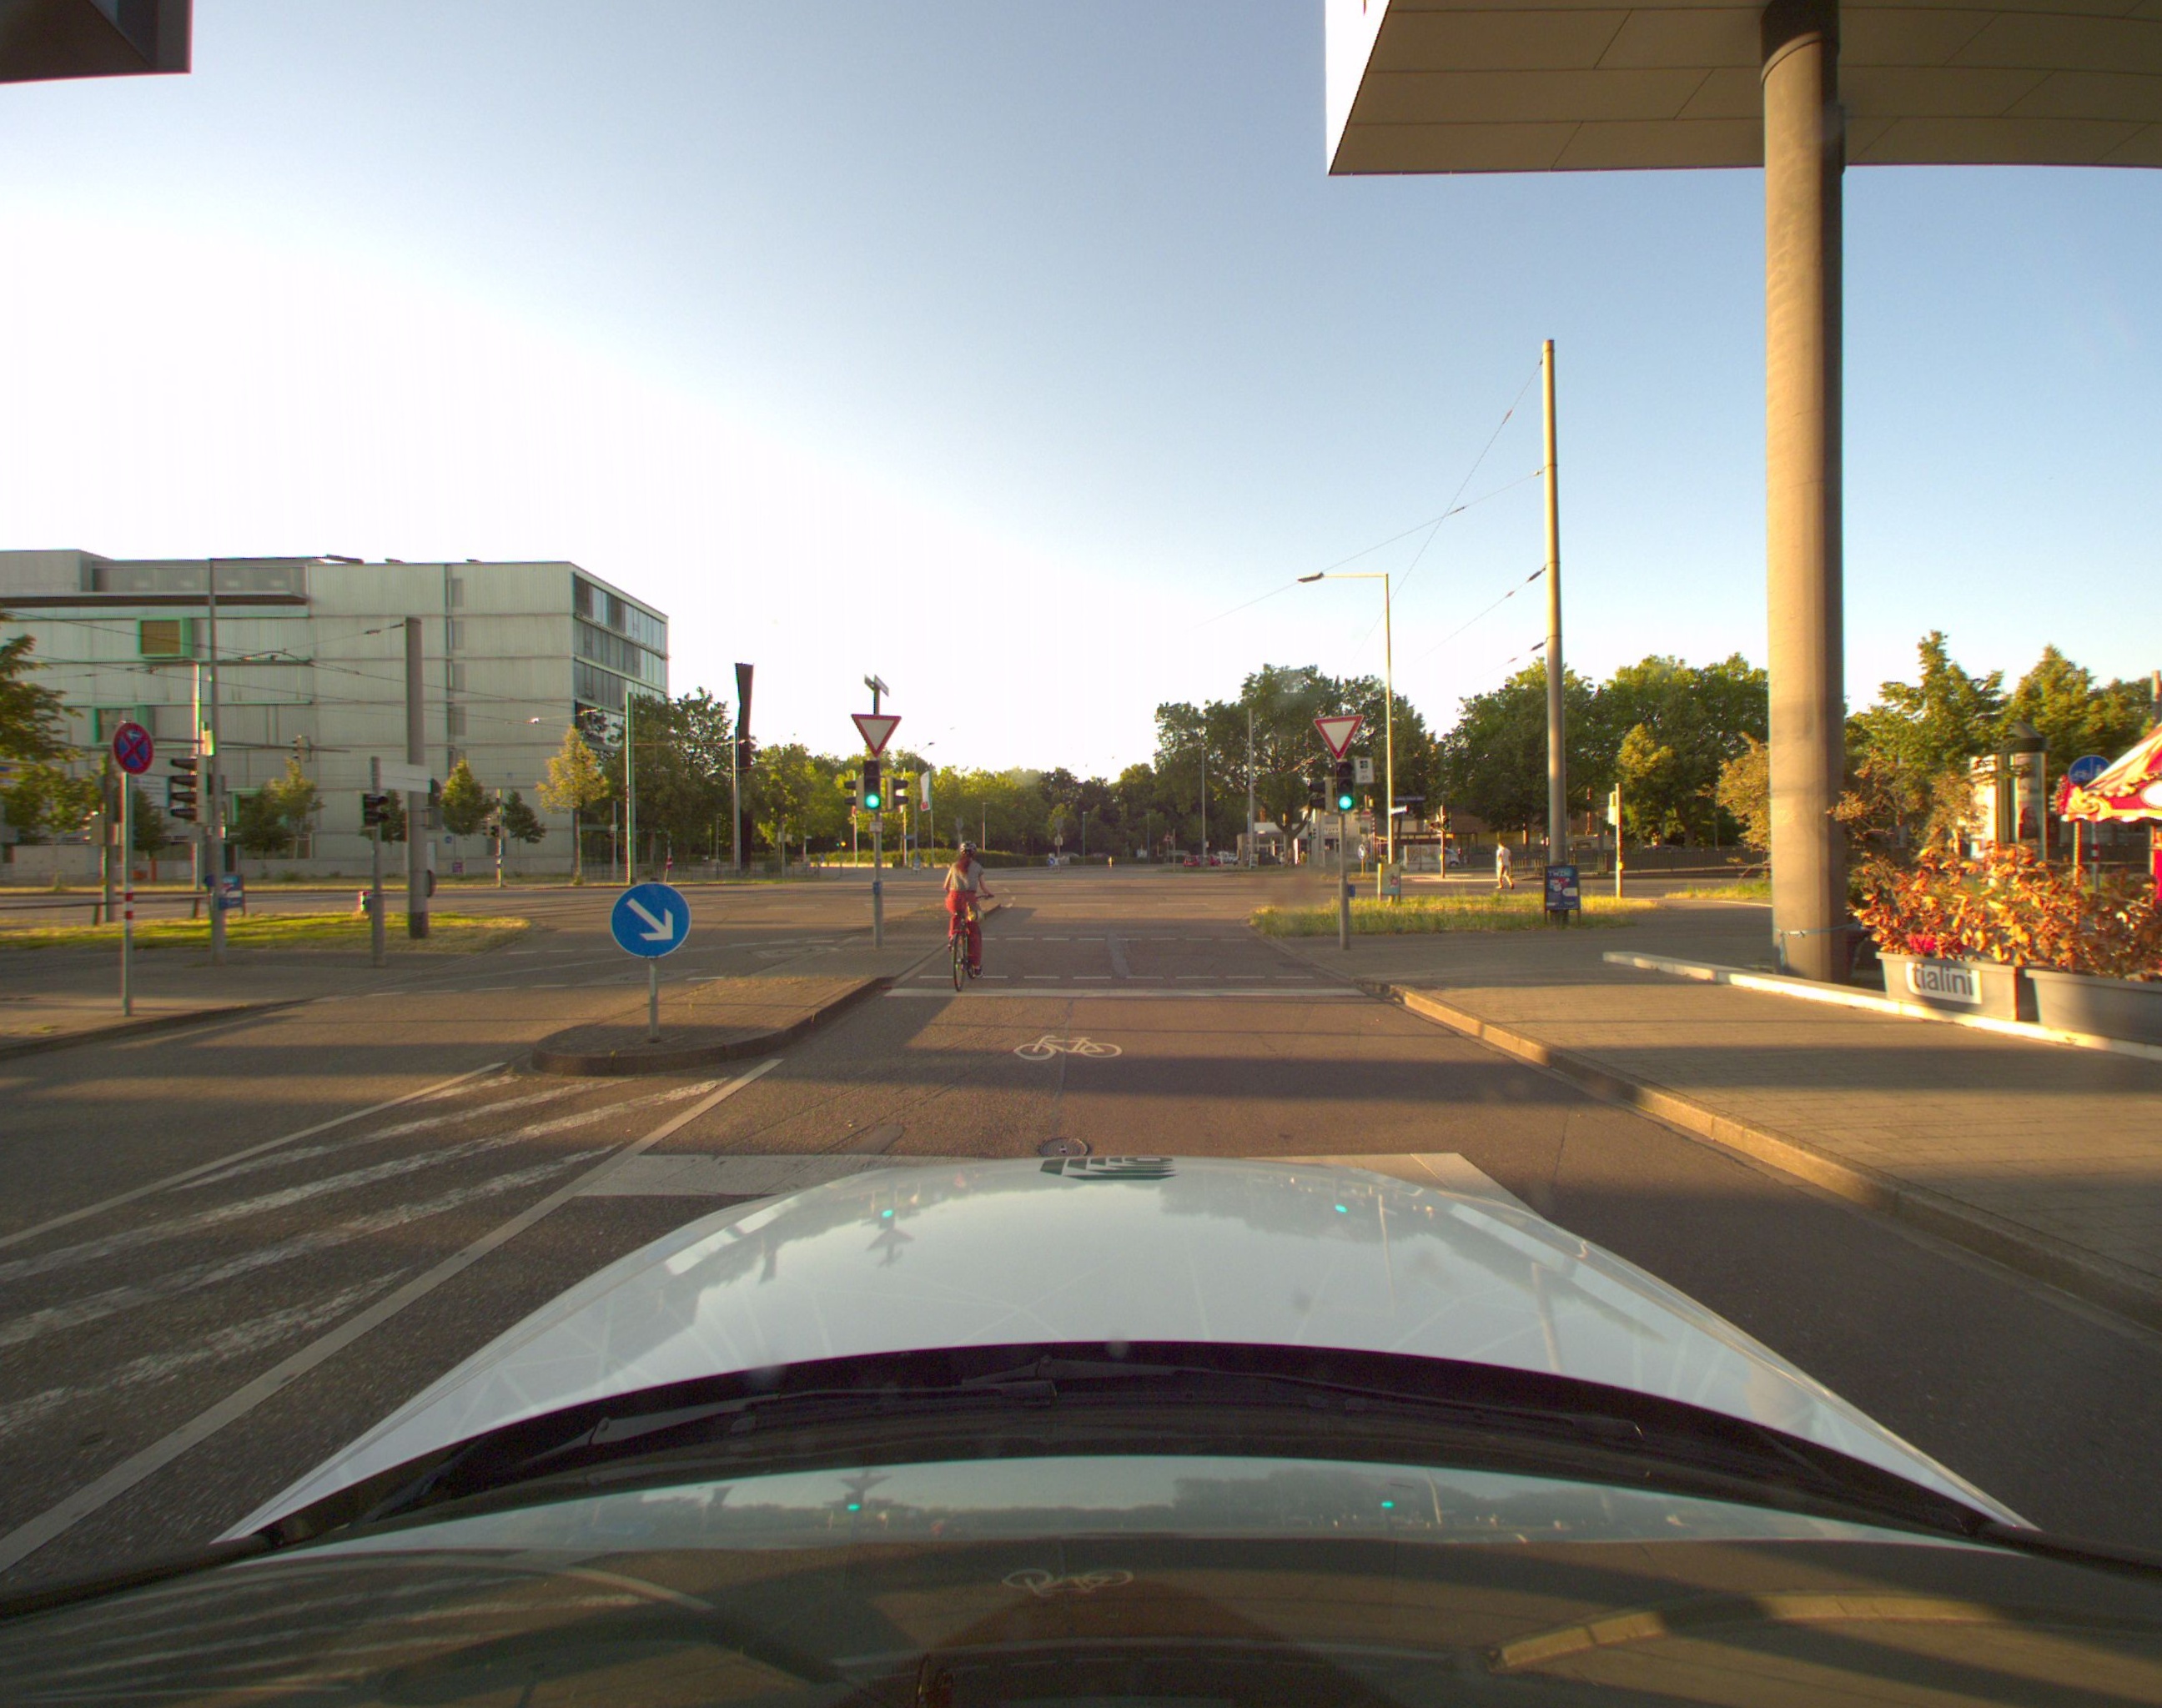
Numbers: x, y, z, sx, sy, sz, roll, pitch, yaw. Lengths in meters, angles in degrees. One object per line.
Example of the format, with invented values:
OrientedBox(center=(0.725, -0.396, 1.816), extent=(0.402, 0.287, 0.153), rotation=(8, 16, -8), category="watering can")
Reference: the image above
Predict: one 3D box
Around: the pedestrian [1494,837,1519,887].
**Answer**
OrientedBox(center=(15.472, 0.291, 29.601), extent=(0.754, 1.791, 0.807), rotation=(0, 0, 32), category="pedestrian")

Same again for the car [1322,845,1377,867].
OrientedBox(center=(23.571, 0.141, 71.598), extent=(4.211, 1.846, 2.002), rotation=(-1, 0, 4), category="car")

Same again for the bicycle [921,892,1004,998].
OrientedBox(center=(-1.411, 1.056, 10.066), extent=(0.632, 1.068, 2.123), rotation=(-1, 0, 2), category="bicycle")

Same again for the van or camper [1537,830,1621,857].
OrientedBox(center=(47.844, -0.977, 78.315), extent=(6.530, 2.410, 2.268), rotation=(-1, -1, 6), category="van or camper")

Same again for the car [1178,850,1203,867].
OrientedBox(center=(12.823, 0.543, 95.090), extent=(1.852, 1.874, 3.896), rotation=(-1, 0, 23), category="car")

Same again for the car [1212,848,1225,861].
OrientedBox(center=(21.956, 0.060, 130.385), extent=(1.982, 2.013, 4.010), rotation=(-1, 0, 9), category="car")

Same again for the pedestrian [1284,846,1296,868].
OrientedBox(center=(17.194, 0.229, 66.973), extent=(0.712, 1.754, 0.903), rotation=(-1, 0, 26), category="pedestrian")

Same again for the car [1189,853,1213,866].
OrientedBox(center=(14.573, 0.656, 98.848), extent=(1.976, 1.574, 4.021), rotation=(-1, 0, 21), category="car")

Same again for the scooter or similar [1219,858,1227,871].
OrientedBox(center=(12.554, 0.918, 71.874), extent=(0.508, 1.090, 1.243), rotation=(-1, 0, 2), category="scooter or similar")

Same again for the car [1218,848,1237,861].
OrientedBox(center=(24.223, 0.090, 134.813), extent=(1.975, 2.013, 4.024), rotation=(-1, 0, 27), category="car")

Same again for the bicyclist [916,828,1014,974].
OrientedBox(center=(-1.422, 0.557, 10.184), extent=(1.028, 1.718, 0.996), rotation=(-1, 0, 1), category="bicyclist")

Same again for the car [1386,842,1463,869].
OrientedBox(center=(23.579, 0.093, 55.992), extent=(4.523, 1.728, 1.860), rotation=(-1, 0, -3), category="car")

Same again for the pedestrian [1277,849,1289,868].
OrientedBox(center=(16.941, 0.383, 68.303), extent=(0.712, 1.639, 0.903), rotation=(-1, 0, 26), category="pedestrian")

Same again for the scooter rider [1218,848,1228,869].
OrientedBox(center=(12.530, 0.419, 71.915), extent=(0.700, 1.855, 0.669), rotation=(-1, -1, 1), category="scooter rider")

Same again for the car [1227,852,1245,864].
OrientedBox(center=(21.874, 0.499, 114.666), extent=(1.899, 1.602, 4.020), rotation=(-1, 0, 20), category="car")

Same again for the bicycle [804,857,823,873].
OrientedBox(center=(-20.803, 0.850, 63.396), extent=(0.697, 1.136, 2.392), rotation=(-1, 0, -1), category="bicycle")

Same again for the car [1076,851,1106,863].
OrientedBox(center=(1.378, 0.337, 109.196), extent=(3.970, 1.561, 2.002), rotation=(-1, 0, 3), category="car")

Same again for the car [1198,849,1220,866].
OrientedBox(center=(16.150, 0.387, 102.633), extent=(1.899, 2.047, 4.020), rotation=(-1, 0, 20), category="car")

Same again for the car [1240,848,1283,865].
OrientedBox(center=(19.488, 0.248, 88.195), extent=(4.354, 1.835, 1.952), rotation=(-1, 0, 6), category="car")
